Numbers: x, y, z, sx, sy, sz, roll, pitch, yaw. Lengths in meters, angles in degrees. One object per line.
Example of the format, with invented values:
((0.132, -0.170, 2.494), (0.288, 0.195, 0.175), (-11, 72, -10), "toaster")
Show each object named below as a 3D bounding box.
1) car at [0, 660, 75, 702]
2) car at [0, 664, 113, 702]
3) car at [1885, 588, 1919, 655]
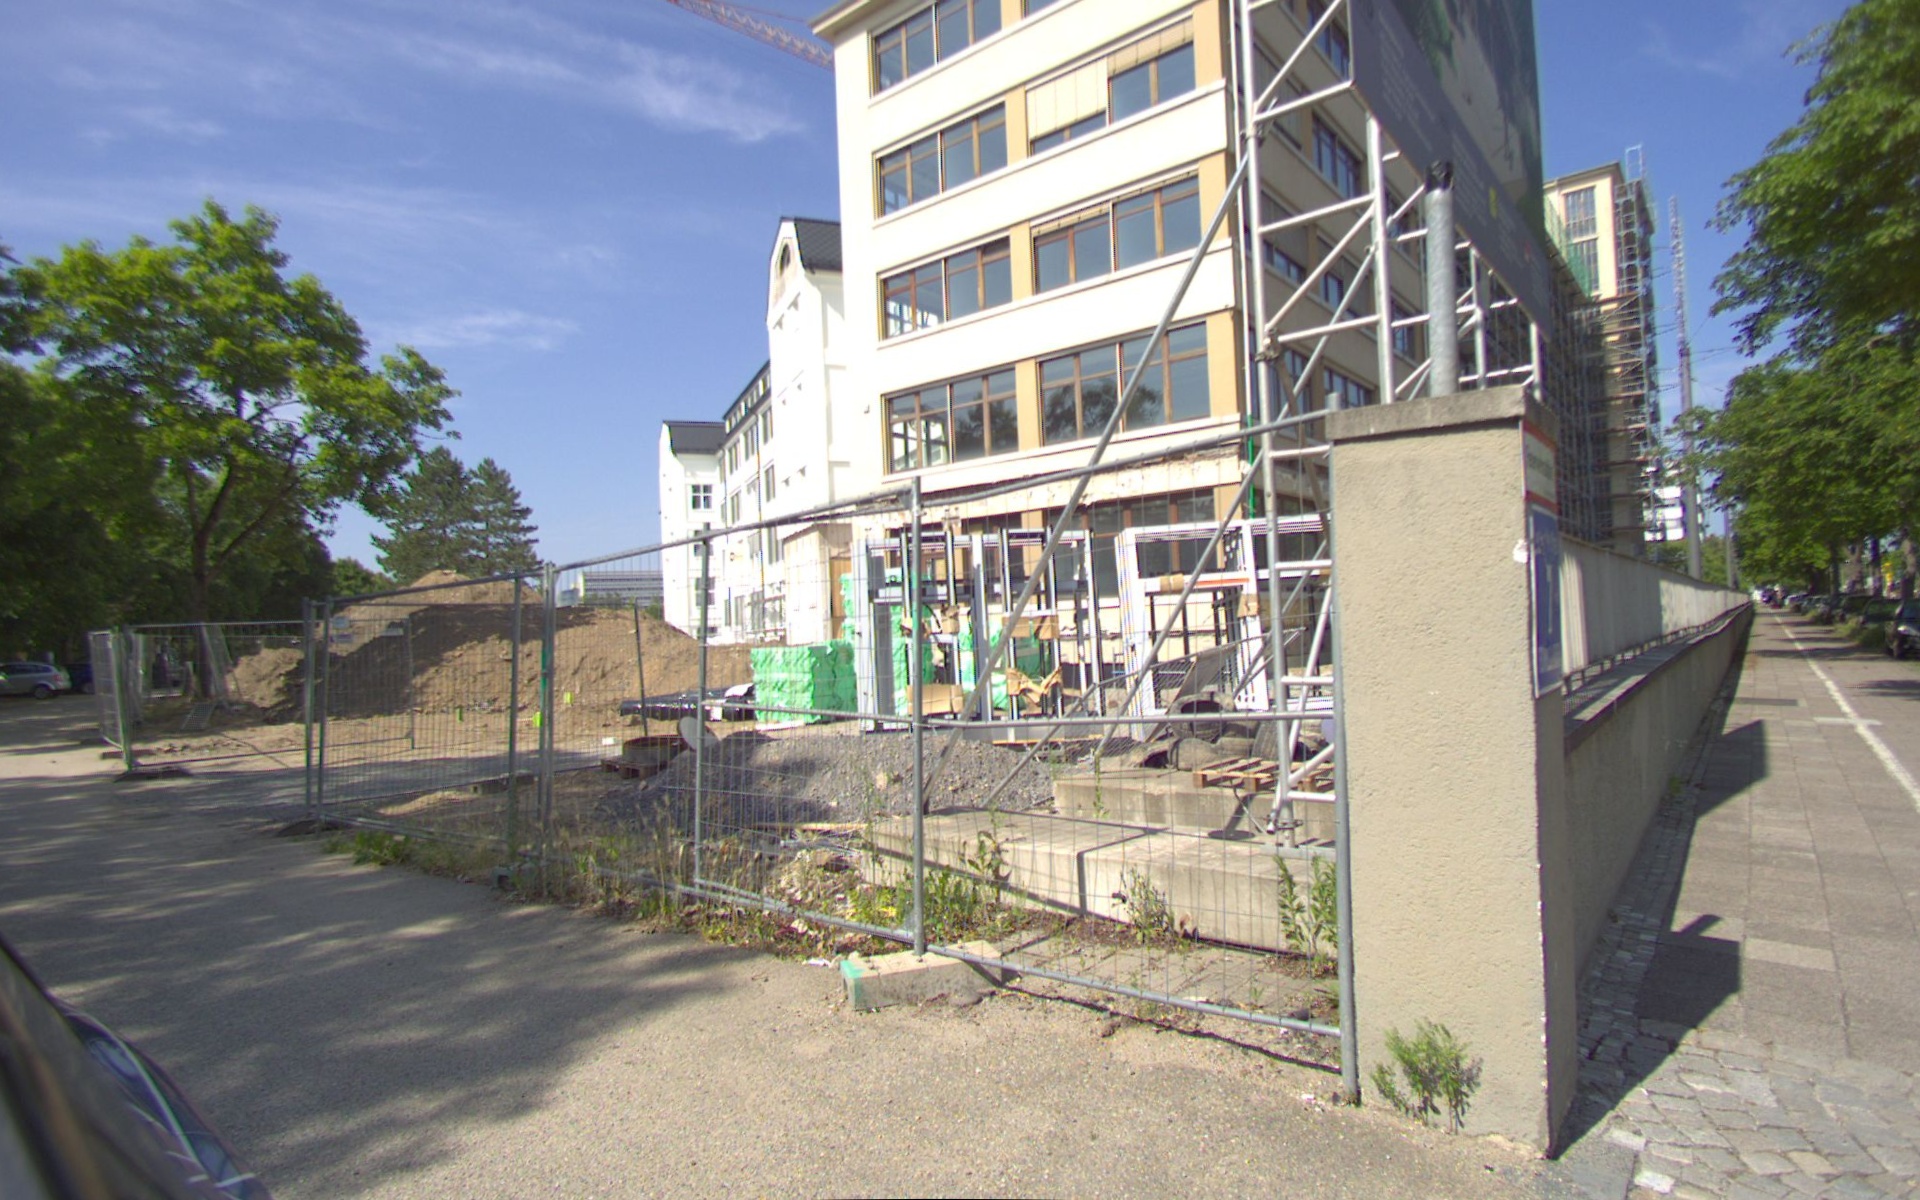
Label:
((-38.239, 3.275, 40.476), (3.932, 1.519, 2.006), (-1, -2, -31), "car")
((-40.656, 3.697, 45.293), (3.932, 1.453, 2.006), (-1, -2, -31), "car")
((22.683, 0.425, 23.178), (1.819, 1.464, 3.949), (-3, -2, 38), "car")
